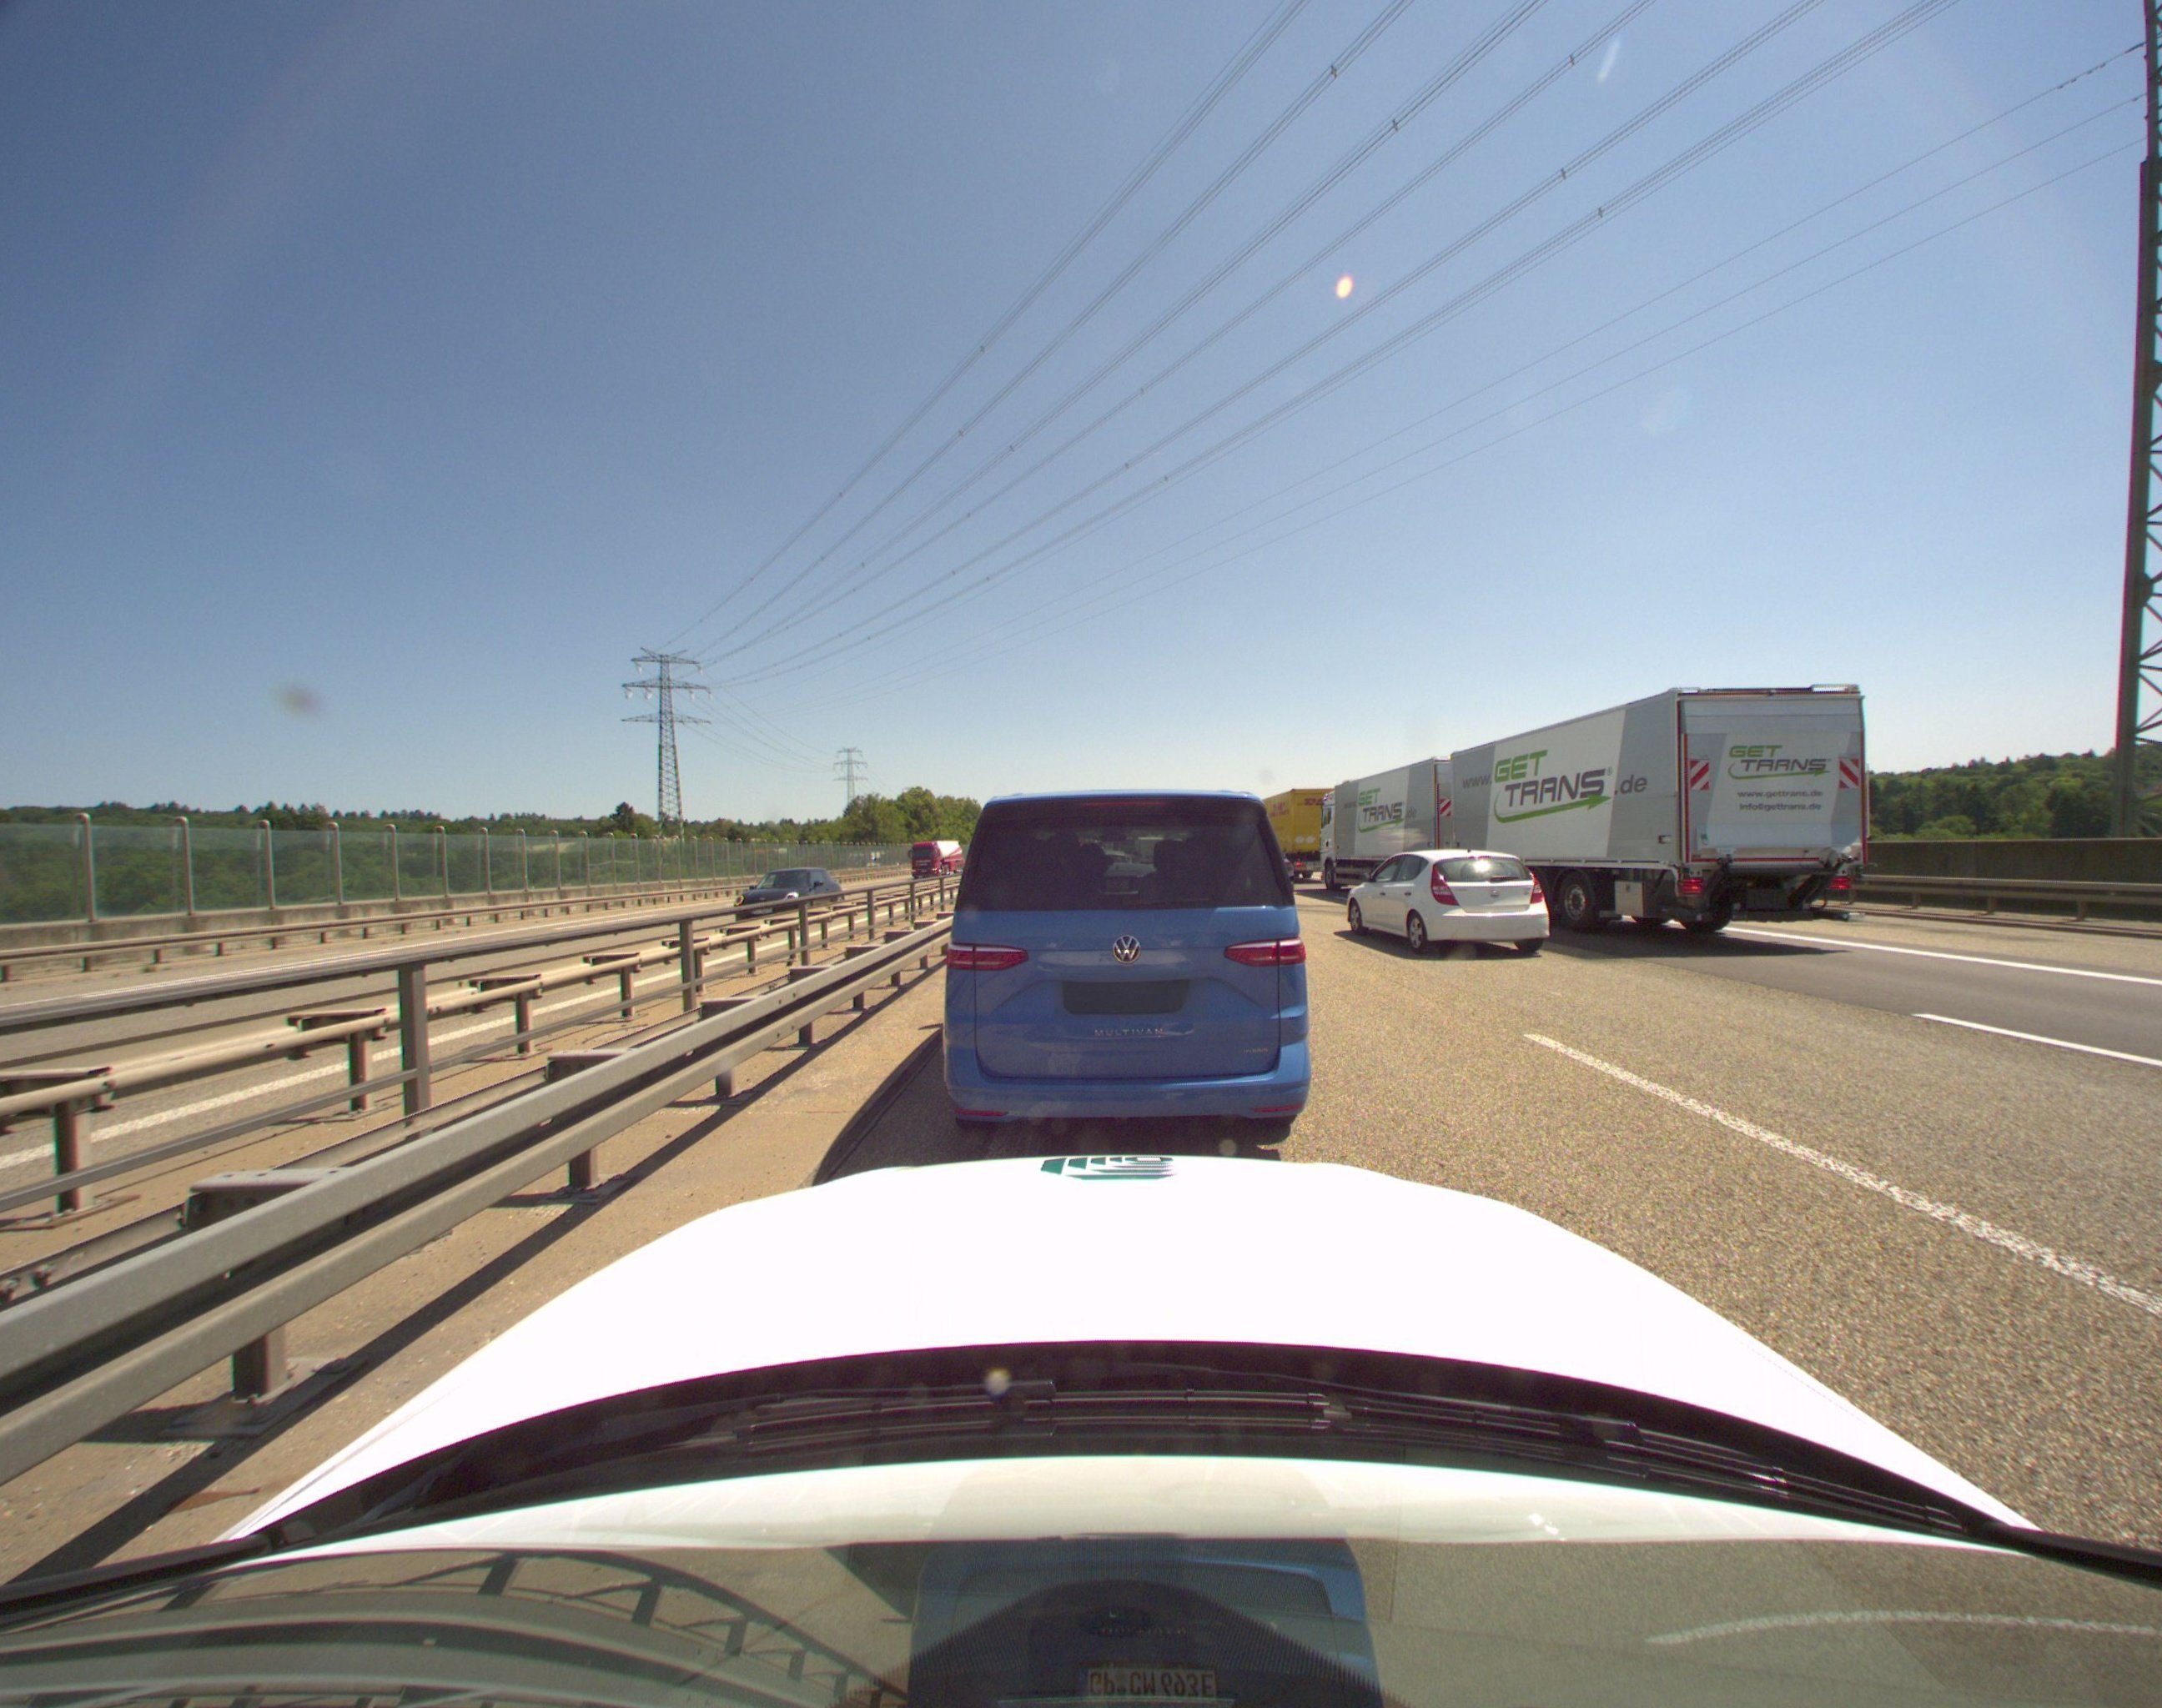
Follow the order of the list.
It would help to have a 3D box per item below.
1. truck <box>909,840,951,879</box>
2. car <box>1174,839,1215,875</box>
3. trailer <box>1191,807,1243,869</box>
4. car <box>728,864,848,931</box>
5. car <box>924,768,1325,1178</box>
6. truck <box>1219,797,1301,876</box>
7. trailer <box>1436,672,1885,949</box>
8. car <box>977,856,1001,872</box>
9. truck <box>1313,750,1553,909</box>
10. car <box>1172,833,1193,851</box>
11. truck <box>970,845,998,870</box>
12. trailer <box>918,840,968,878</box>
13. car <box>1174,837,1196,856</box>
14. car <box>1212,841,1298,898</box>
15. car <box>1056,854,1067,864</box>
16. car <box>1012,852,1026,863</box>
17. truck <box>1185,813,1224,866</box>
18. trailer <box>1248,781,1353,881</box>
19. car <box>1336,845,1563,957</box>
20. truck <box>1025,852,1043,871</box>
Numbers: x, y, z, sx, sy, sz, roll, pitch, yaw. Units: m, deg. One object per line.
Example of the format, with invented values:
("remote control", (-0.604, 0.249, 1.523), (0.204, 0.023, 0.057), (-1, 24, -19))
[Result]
("truck", (-13.975, 0.475, 75.685), (2.488, 3.365, 5.836), (-4, 0, 2))
("car", (6.736, 0.168, 48.659), (1.954, 1.993, 4.295), (-1, 0, 2))
("trailer", (10.742, -1.209, 65.431), (2.627, 4.516, 11.305), (0, 0, 2))
("car", (-7.542, 1.059, 21.330), (1.613, 1.464, 3.703), (-3, 0, 2))
("car", (0.263, 0.549, 5.756), (1.813, 1.857, 4.076), (0, 0, 2))
("truck", (10.542, -0.931, 49.285), (2.826, 4.243, 11.013), (0, 0, 1))
("trailer", (9.610, -0.597, 15.065), (2.688, 3.700, 8.017), (-1, 0, 1))
("car", (-9.797, 1.049, 86.753), (1.856, 1.444, 4.132), (-4, 0, 2))
("truck", (9.823, -0.591, 24.590), (2.647, 3.648, 11.013), (-1, 0, 1))
("car", (12.049, -1.377, 96.792), (1.986, 2.013, 4.463), (-2, 0, 2))
("truck", (-13.550, 0.502, 114.808), (2.510, 3.110, 8.724), (-5, 0, 1))
("trailer", (-13.829, 0.475, 82.497), (2.472, 3.344, 12.077), (-4, 0, 2))
("car", (10.981, -0.777, 86.419), (1.986, 2.014, 4.002), (0, 0, 2))
("car", (5.515, 0.450, 26.397), (1.954, 1.644, 4.295), (-1, 0, 2))
("car", (-3.829, 1.030, 161.506), (1.986, 2.014, 4.314), (0, 0, 2))
("car", (-12.645, 0.716, 166.239), (2.074, 2.149, 4.314), (-3, 0, 2))
("truck", (10.997, -1.199, 72.815), (2.657, 4.484, 6.853), (0, 0, 2))
("trailer", (10.297, -0.957, 39.277), (2.854, 4.239, 9.015), (0, 0, 2))
("car", (5.581, 0.624, 13.006), (1.782, 1.455, 4.295), (-1, 0, 2))
("truck", (-8.829, 1.342, 154.006), (2.553, 3.359, 8.863), (-3, 0, 0))
